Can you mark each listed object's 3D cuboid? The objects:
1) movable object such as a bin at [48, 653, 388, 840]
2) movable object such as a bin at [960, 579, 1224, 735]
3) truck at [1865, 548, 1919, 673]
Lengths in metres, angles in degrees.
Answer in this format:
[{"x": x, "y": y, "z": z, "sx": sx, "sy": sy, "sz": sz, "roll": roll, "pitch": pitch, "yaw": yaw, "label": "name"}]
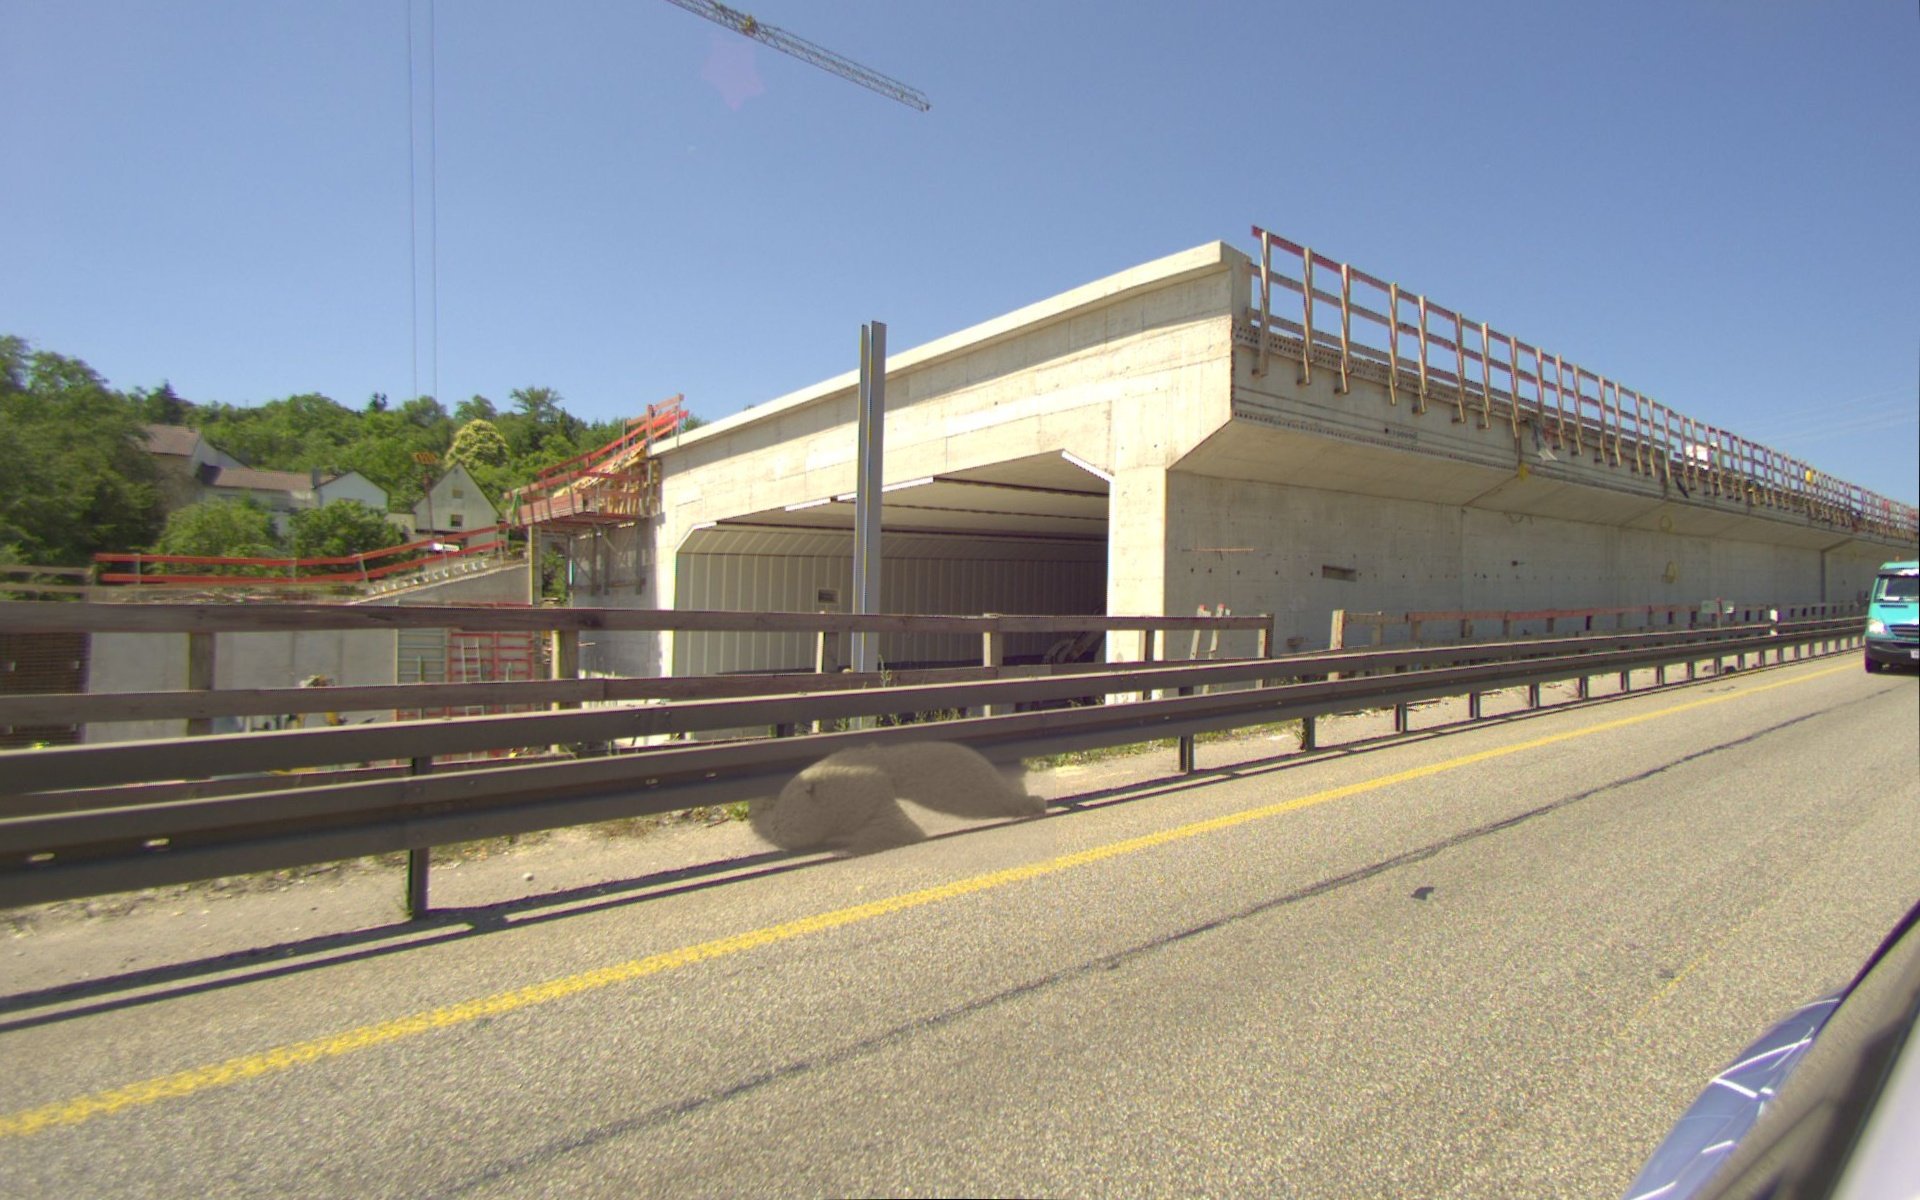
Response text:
[{"x": -14.384, "y": 2.916, "z": 20.571, "sx": 3.425, "sy": 2.941, "sz": 7.159, "roll": -1, "pitch": -8, "yaw": -18, "label": "movable object such as a bin"}, {"x": 4.351, "y": 1.476, "z": 31.479, "sx": 8.998, "sy": 4.113, "sz": 2.958, "roll": -2, "pitch": 1, "yaw": -41, "label": "movable object such as a bin"}, {"x": 21.349, "y": 0.115, "z": 21.541, "sx": 7.303, "sy": 2.386, "sz": 2.138, "roll": -2, "pitch": 1, "yaw": -40, "label": "truck"}]
